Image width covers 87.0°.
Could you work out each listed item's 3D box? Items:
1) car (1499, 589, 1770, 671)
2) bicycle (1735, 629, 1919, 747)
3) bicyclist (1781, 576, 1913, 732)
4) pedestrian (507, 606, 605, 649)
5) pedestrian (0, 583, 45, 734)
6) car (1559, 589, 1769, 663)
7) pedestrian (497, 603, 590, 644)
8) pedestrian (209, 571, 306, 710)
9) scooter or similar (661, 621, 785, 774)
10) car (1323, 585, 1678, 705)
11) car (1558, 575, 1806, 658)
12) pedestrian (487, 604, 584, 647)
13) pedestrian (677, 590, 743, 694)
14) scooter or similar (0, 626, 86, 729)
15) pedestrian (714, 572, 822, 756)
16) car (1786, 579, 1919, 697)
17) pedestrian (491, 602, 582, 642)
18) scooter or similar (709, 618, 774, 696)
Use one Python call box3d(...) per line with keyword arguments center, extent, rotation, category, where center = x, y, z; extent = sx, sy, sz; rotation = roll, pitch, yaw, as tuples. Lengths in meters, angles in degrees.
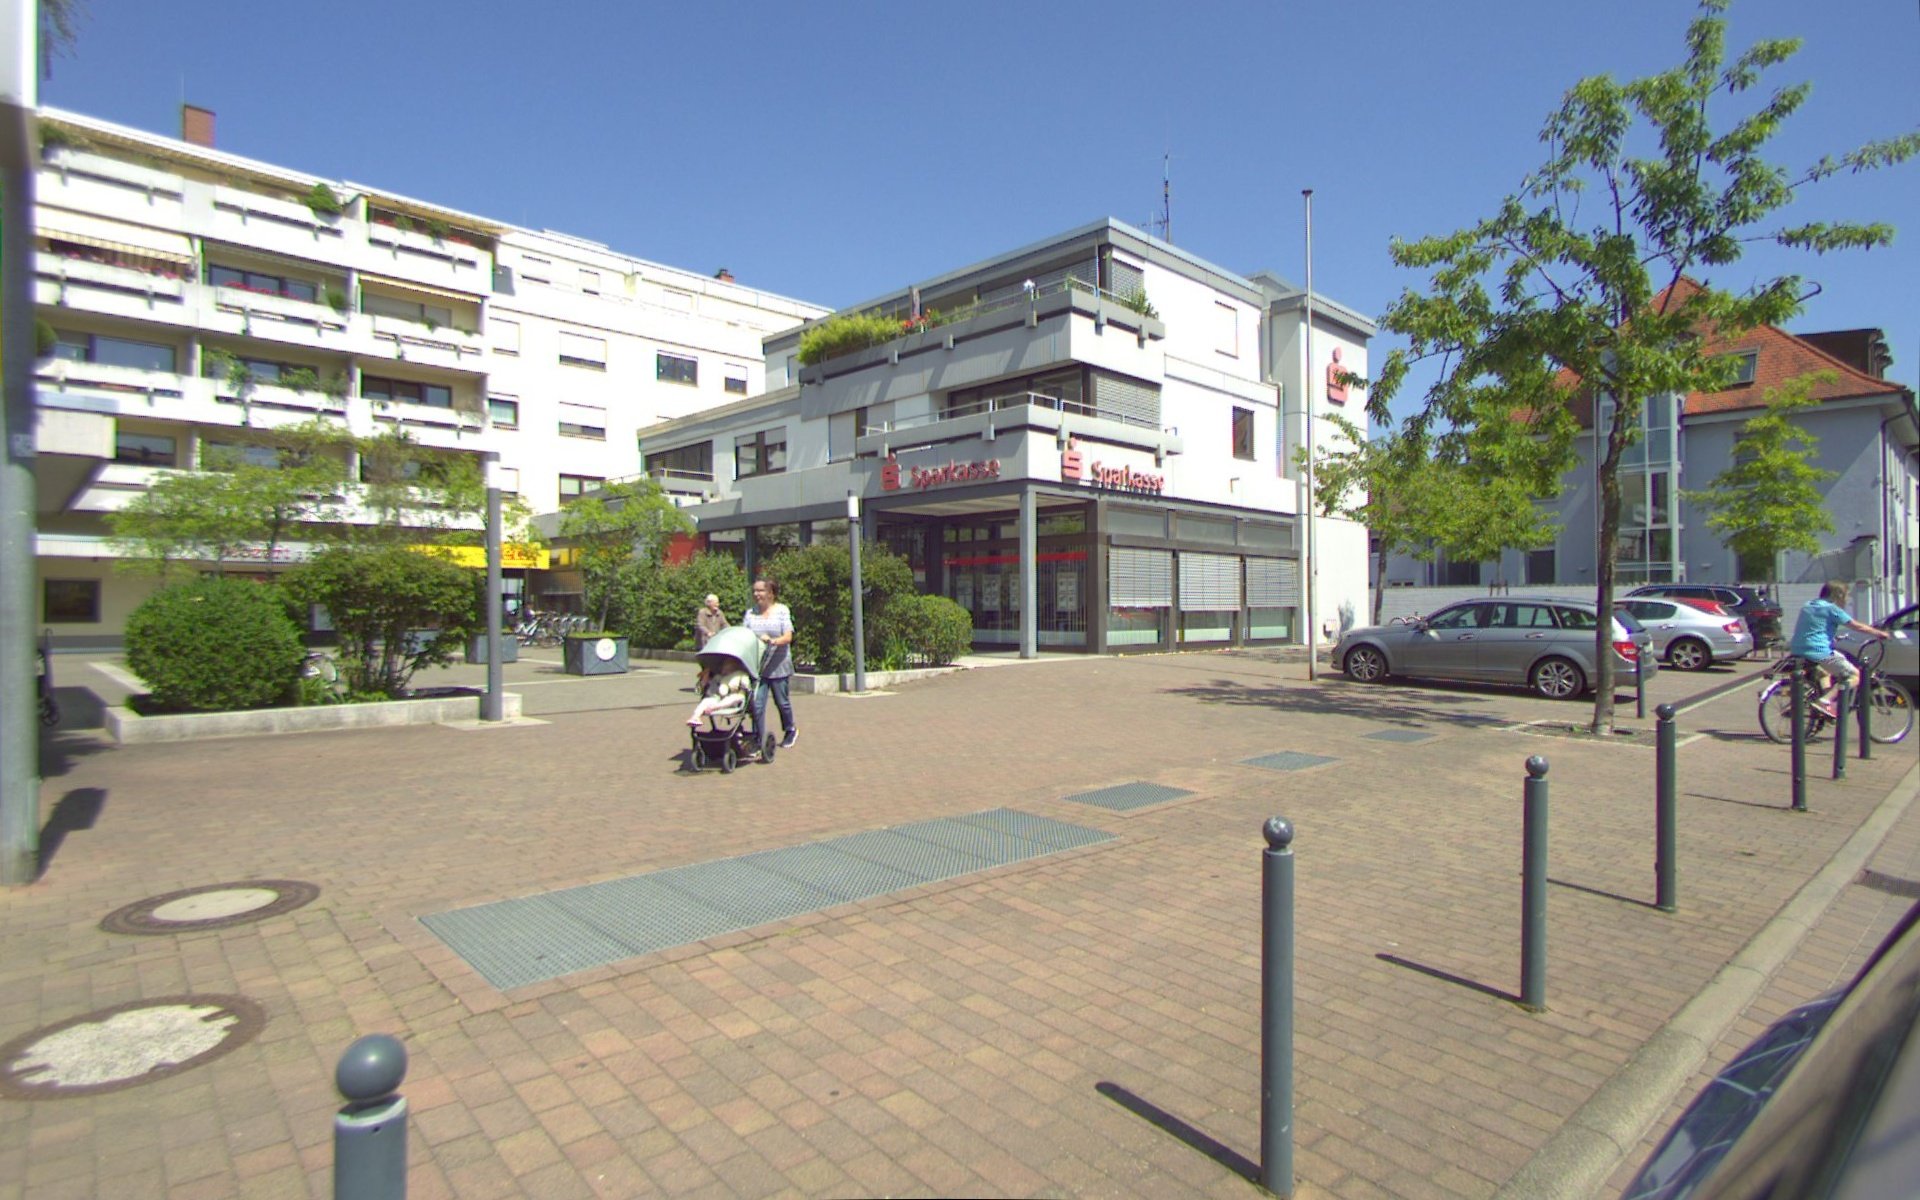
box3d(center=(14.133, 0.547, 21.394), extent=(4.536, 1.458, 1.811), rotation=(2, 1, 44), category="car")
box3d(center=(9.111, 0.879, 10.380), extent=(1.858, 1.123, 0.676), rotation=(0, 0, -5), category="bicycle")
box3d(center=(9.082, 0.533, 10.384), extent=(0.746, 1.546, 0.671), rotation=(0, -1, -5), category="bicyclist")
box3d(center=(-12.715, 0.839, 31.949), extent=(0.982, 1.290, 2.735), rotation=(-1, 0, 40), category="pedestrian")
box3d(center=(-10.046, 0.588, 10.446), extent=(0.606, 1.516, 0.813), rotation=(0, -1, -17), category="pedestrian")
box3d(center=(16.022, 0.534, 23.128), extent=(3.729, 1.470, 1.717), rotation=(2, 1, 43), category="car")
box3d(center=(-13.849, 0.762, 33.704), extent=(0.982, 1.290, 2.735), rotation=(-1, 0, 40), category="pedestrian")
box3d(center=(-9.273, 0.510, 13.367), extent=(0.700, 1.758, 0.890), rotation=(-1, -1, 39), category="pedestrian")
box3d(center=(-1.874, 0.743, 8.127), extent=(0.617, 1.120, 1.040), rotation=(0, -1, 10), category="scooter or similar")
box3d(center=(8.299, 0.569, 15.834), extent=(4.575, 1.531, 1.887), rotation=(2, 2, 43), category="car")
box3d(center=(17.576, 0.338, 24.805), extent=(2.111, 1.793, 4.635), rotation=(1, 1, -43), category="car")
box3d(center=(-13.603, 0.791, 32.524), extent=(0.982, 1.290, 2.735), rotation=(-1, 0, 40), category="pedestrian")
box3d(center=(-3.809, 0.625, 15.409), extent=(0.808, 1.516, 0.659), rotation=(-2, -2, 43), category="pedestrian")
box3d(center=(-10.268, 0.839, 11.230), extent=(0.578, 1.088, 0.807), rotation=(0, -1, -17), category="scooter or similar")
box3d(center=(-1.682, 0.540, 8.948), extent=(0.695, 1.541, 0.798), rotation=(-1, -1, 11), category="pedestrian")
box3d(center=(13.998, 0.537, 13.717), extent=(1.818, 1.593, 4.009), rotation=(1, 1, -16), category="car")
box3d(center=(-14.364, 0.728, 34.379), extent=(0.982, 1.290, 2.735), rotation=(-1, 0, 40), category="pedestrian")
box3d(center=(-3.214, 0.819, 14.857), extent=(0.802, 1.088, 0.582), rotation=(-1, -1, 43), category="scooter or similar")
